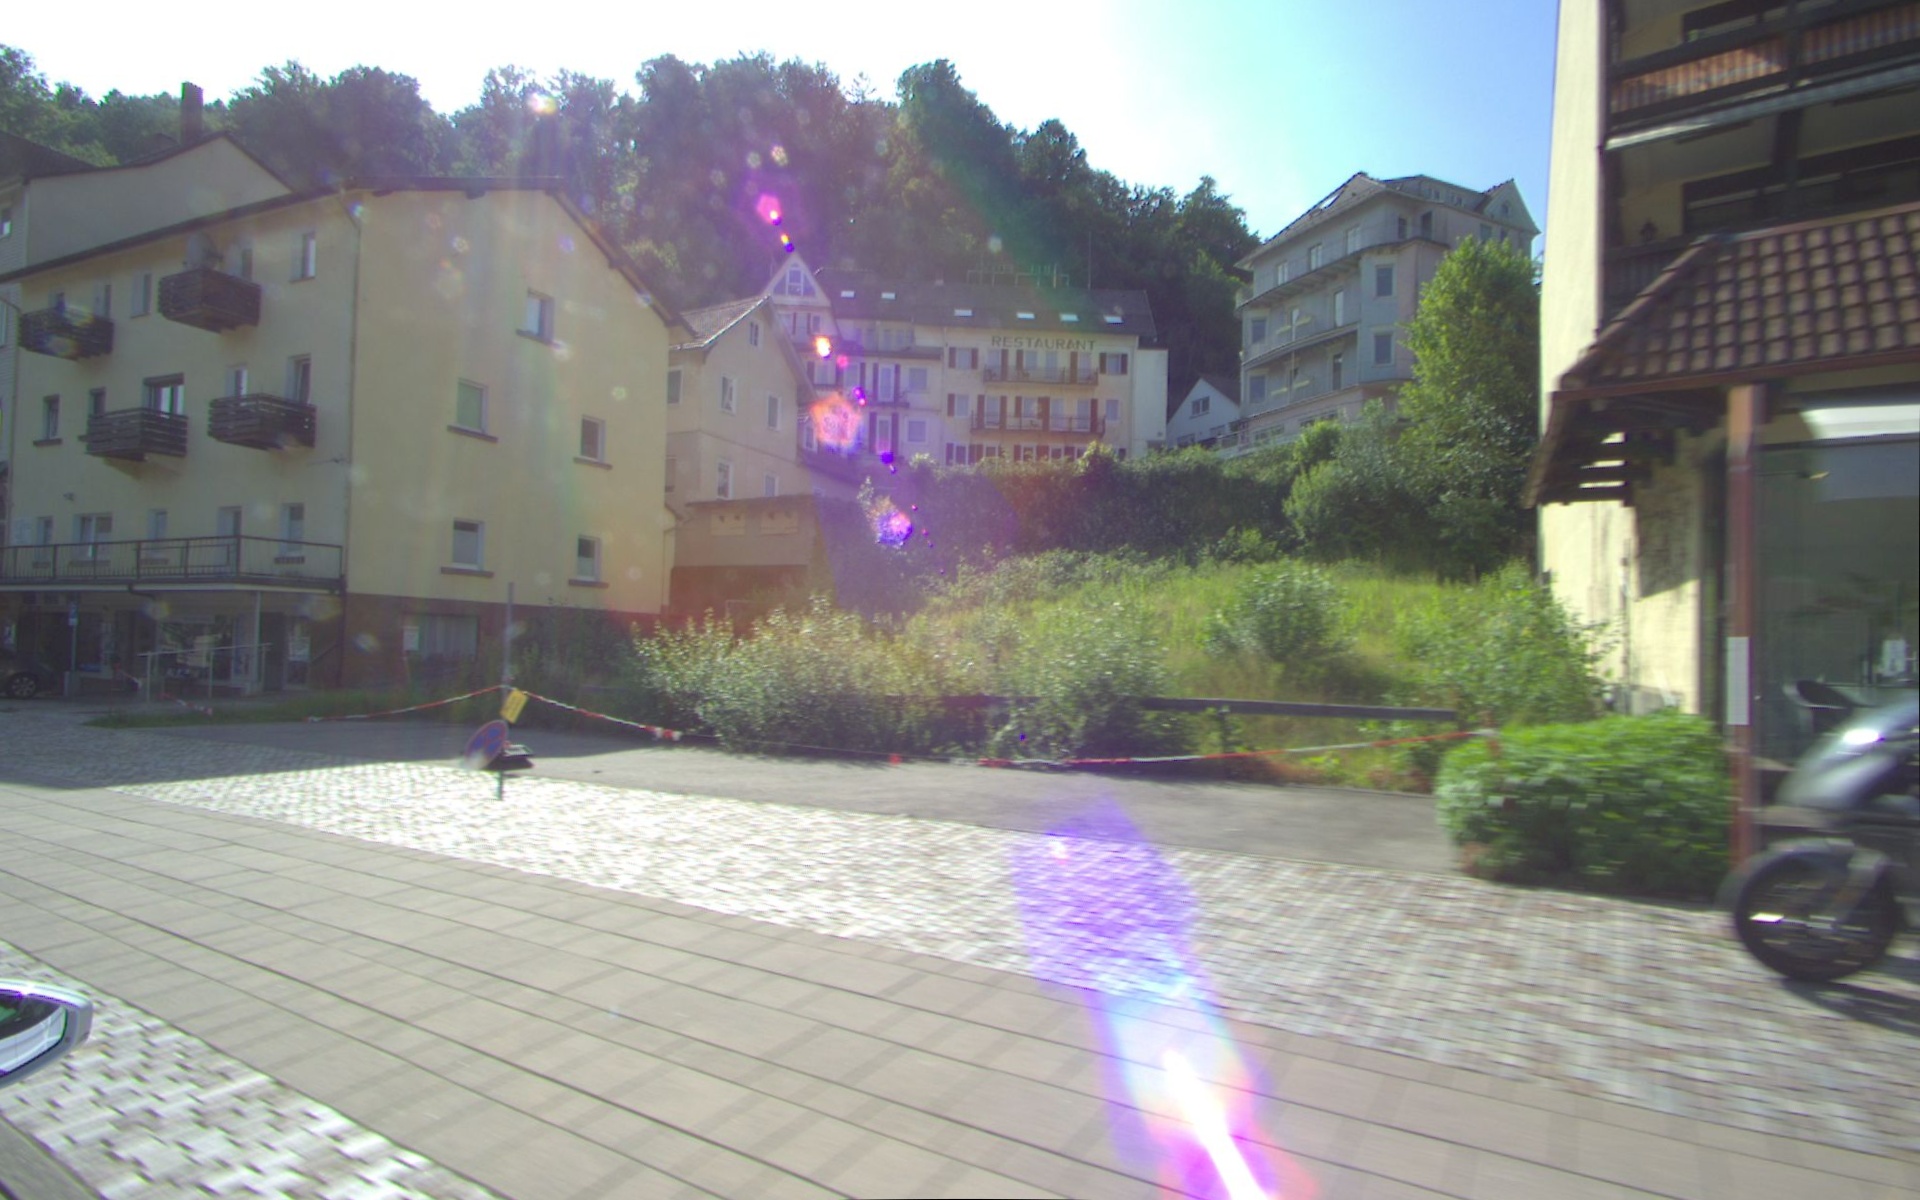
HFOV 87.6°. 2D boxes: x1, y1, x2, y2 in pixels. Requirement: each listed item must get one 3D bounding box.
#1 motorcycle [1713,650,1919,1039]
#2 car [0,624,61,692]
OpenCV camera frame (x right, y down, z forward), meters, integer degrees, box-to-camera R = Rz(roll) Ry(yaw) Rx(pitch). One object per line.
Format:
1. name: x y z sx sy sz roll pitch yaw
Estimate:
1. motorcycle: 3.992 0.866 3.447 2.181 1.313 0.695 0 0 33
2. car: -23.764 1.264 23.226 1.731 1.572 3.867 1 -5 24
